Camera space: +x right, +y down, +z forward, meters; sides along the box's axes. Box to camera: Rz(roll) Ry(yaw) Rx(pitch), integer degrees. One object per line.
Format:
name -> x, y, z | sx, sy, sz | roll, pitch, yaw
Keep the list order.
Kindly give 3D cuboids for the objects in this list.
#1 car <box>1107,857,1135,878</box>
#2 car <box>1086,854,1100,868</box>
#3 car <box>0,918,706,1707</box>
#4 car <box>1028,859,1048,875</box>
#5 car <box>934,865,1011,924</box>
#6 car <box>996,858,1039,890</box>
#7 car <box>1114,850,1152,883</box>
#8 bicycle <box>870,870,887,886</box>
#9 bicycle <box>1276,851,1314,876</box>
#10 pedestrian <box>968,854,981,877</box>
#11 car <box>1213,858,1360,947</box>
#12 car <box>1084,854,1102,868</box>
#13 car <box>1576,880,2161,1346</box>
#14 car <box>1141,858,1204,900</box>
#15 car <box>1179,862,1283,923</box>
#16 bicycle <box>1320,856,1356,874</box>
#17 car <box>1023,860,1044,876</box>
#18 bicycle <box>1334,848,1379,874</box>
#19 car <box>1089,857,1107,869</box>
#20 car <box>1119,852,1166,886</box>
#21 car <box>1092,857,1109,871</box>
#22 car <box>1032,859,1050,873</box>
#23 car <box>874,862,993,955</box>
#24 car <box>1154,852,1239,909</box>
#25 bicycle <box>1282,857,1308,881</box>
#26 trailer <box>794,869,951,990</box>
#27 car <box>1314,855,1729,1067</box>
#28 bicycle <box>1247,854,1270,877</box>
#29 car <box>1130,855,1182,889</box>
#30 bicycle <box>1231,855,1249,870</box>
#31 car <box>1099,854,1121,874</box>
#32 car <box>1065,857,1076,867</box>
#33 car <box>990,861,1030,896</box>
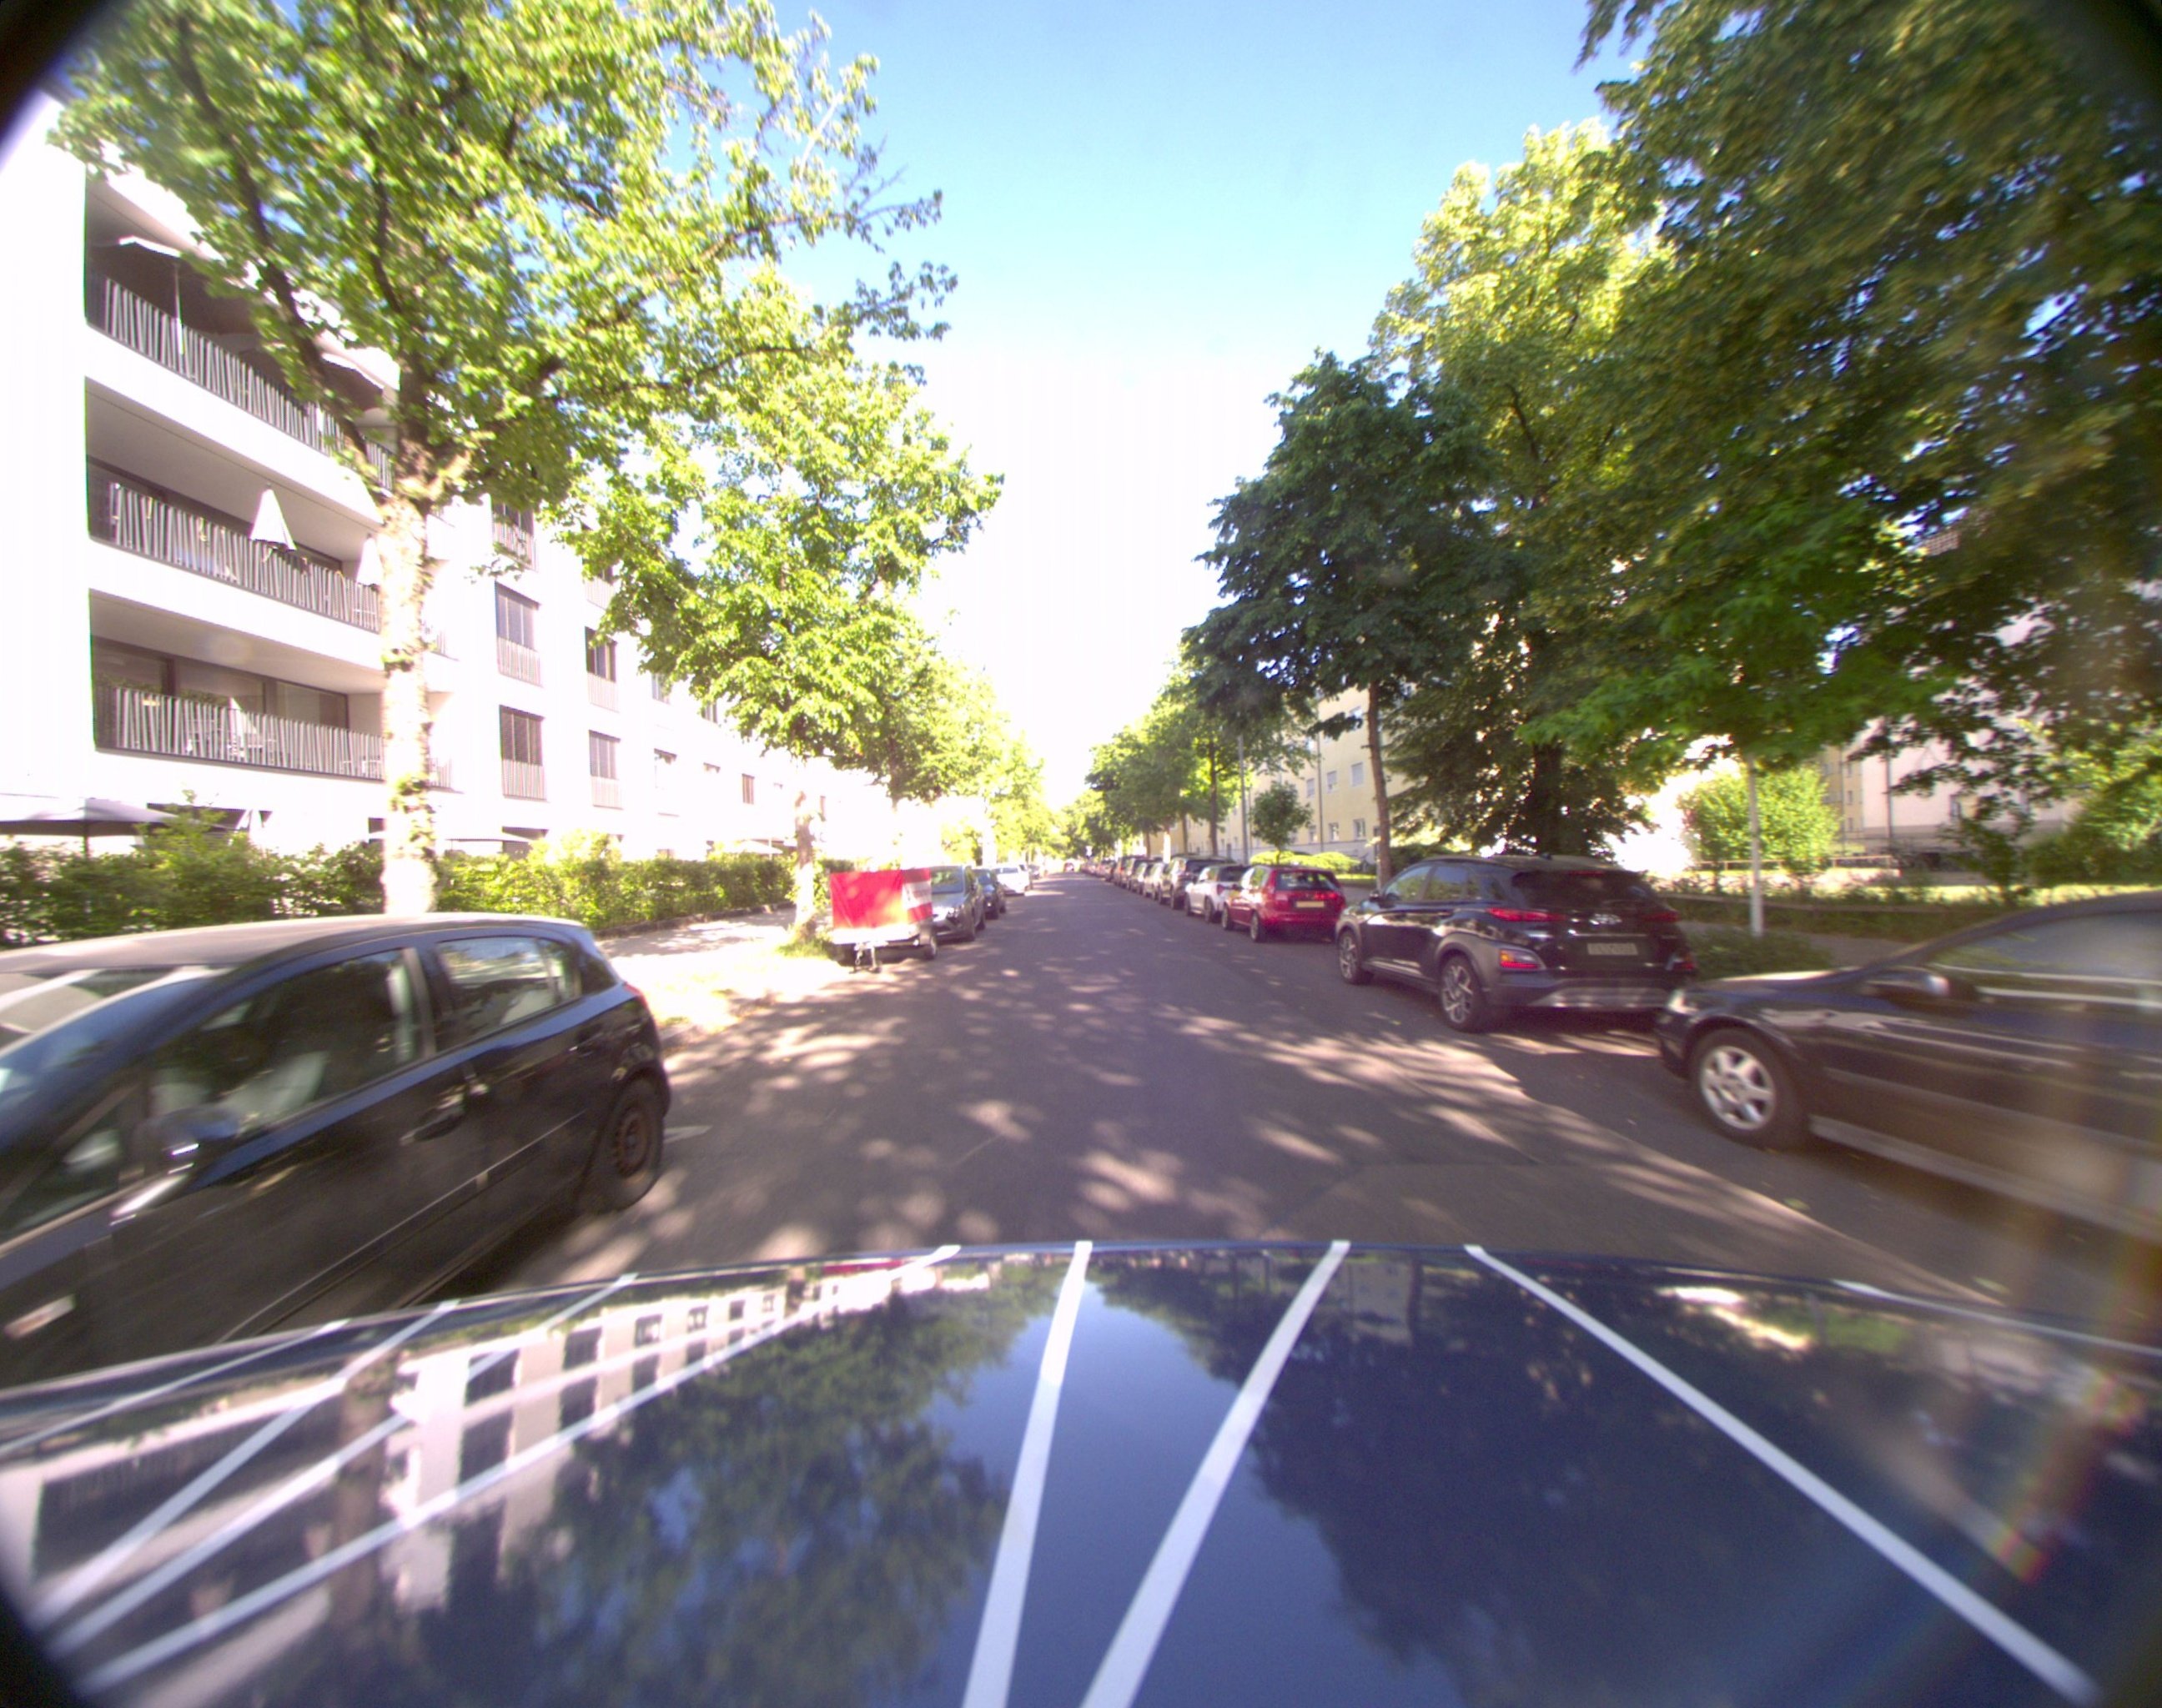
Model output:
car -> 2.942, 0.988, 57.062 | 1.780, 1.462, 4.063 | 0, 0, -1
car -> 1.617, 0.986, 104.363 | 1.713, 1.752, 3.711 | -2, 1, -2
car -> -2.874, 1.128, 2.101 | 1.674, 1.442, 4.178 | -4, 0, -3
car -> -4.241, 1.287, 75.308 | 1.670, 1.456, 3.536 | -1, 0, 0
car -> -3.220, 1.151, 23.344 | 1.722, 1.507, 4.344 | -3, 0, -1
car -> -3.583, 1.102, 43.499 | 1.902, 1.638, 4.861 | -3, 0, 1
car -> 3.117, 0.719, 46.387 | 1.798, 1.839, 4.866 | -1, 0, -2
bicycle -> -11.960, 1.395, 44.887 | 0.564, 0.889, 1.609 | -2, 0, -1
bicycle -> 11.376, 0.496, 40.475 | 1.826, 1.218, 0.517 | -3, 1, -1
pedestrian -> -9.334, 1.030, 66.610 | 0.907, 2.002, 1.006 | -1, 0, -1
car -> 3.944, 0.849, 15.282 | 1.658, 1.496, 4.067 | -1, 0, -3
car -> 1.579, 0.925, 99.456 | 1.891, 1.797, 3.913 | -2, 0, -5
car -> 4.265, 0.860, 2.793 | 1.790, 1.344, 4.480 | -1, 0, -3
car -> 3.572, 0.940, 30.389 | 1.711, 1.472, 4.488 | -1, 0, -3
car -> 3.774, 0.916, 19.811 | 1.658, 1.365, 4.188 | -1, 0, -3
bicycle -> 13.658, 0.559, 40.381 | 1.713, 0.864, 0.585 | -3, 1, -1
car -> -4.373, 1.279, 70.523 | 1.670, 1.456, 3.536 | -1, 0, 0
bicycle -> 14.009, 0.356, 38.650 | 1.957, 1.218, 0.777 | -3, 1, -4
car -> 2.048, 1.092, 94.027 | 1.806, 1.470, 3.998 | -2, 0, -4
car -> 3.265, 0.769, 41.108 | 1.799, 1.676, 4.525 | -1, 0, -5
car -> 2.078, 1.103, 82.564 | 1.606, 1.382, 3.811 | -2, 0, -2
car -> -4.256, 1.252, 80.785 | 1.670, 1.456, 3.674 | -1, 0, 0
car -> -3.133, 1.092, 17.168 | 1.797, 1.633, 4.818 | -4, 0, -2
car -> 3.676, 0.800, 25.087 | 1.847, 1.647, 5.086 | -1, 0, -2
bicycle -> 9.713, 0.673, 34.575 | 0.573, 1.055, 1.933 | -3, 0, -1
trailer -> -3.296, 1.127, 12.605 | 1.578, 1.569, 3.192 | -4, 0, 0
car -> 4.032, 0.818, 8.001 | 1.710, 1.568, 4.481 | -1, 0, -1
bicycle -> 9.614, 0.601, 41.230 | 0.596, 1.182, 2.260 | -1, 0, -3
car -> 3.432, 0.812, 35.409 | 1.798, 1.443, 4.488 | -1, 0, -2
bicycle -> 9.915, 0.518, 47.326 | 0.596, 0.911, 1.903 | -1, 0, -3
car -> 2.609, 0.877, 68.919 | 1.864, 1.718, 4.000 | 0, 0, 0
car -> -1.577, 1.241, 119.699 | 1.665, 1.456, 3.447 | -1, 0, 0
car -> -3.541, 1.149, 37.695 | 1.786, 1.509, 4.685 | -3, 0, -6
